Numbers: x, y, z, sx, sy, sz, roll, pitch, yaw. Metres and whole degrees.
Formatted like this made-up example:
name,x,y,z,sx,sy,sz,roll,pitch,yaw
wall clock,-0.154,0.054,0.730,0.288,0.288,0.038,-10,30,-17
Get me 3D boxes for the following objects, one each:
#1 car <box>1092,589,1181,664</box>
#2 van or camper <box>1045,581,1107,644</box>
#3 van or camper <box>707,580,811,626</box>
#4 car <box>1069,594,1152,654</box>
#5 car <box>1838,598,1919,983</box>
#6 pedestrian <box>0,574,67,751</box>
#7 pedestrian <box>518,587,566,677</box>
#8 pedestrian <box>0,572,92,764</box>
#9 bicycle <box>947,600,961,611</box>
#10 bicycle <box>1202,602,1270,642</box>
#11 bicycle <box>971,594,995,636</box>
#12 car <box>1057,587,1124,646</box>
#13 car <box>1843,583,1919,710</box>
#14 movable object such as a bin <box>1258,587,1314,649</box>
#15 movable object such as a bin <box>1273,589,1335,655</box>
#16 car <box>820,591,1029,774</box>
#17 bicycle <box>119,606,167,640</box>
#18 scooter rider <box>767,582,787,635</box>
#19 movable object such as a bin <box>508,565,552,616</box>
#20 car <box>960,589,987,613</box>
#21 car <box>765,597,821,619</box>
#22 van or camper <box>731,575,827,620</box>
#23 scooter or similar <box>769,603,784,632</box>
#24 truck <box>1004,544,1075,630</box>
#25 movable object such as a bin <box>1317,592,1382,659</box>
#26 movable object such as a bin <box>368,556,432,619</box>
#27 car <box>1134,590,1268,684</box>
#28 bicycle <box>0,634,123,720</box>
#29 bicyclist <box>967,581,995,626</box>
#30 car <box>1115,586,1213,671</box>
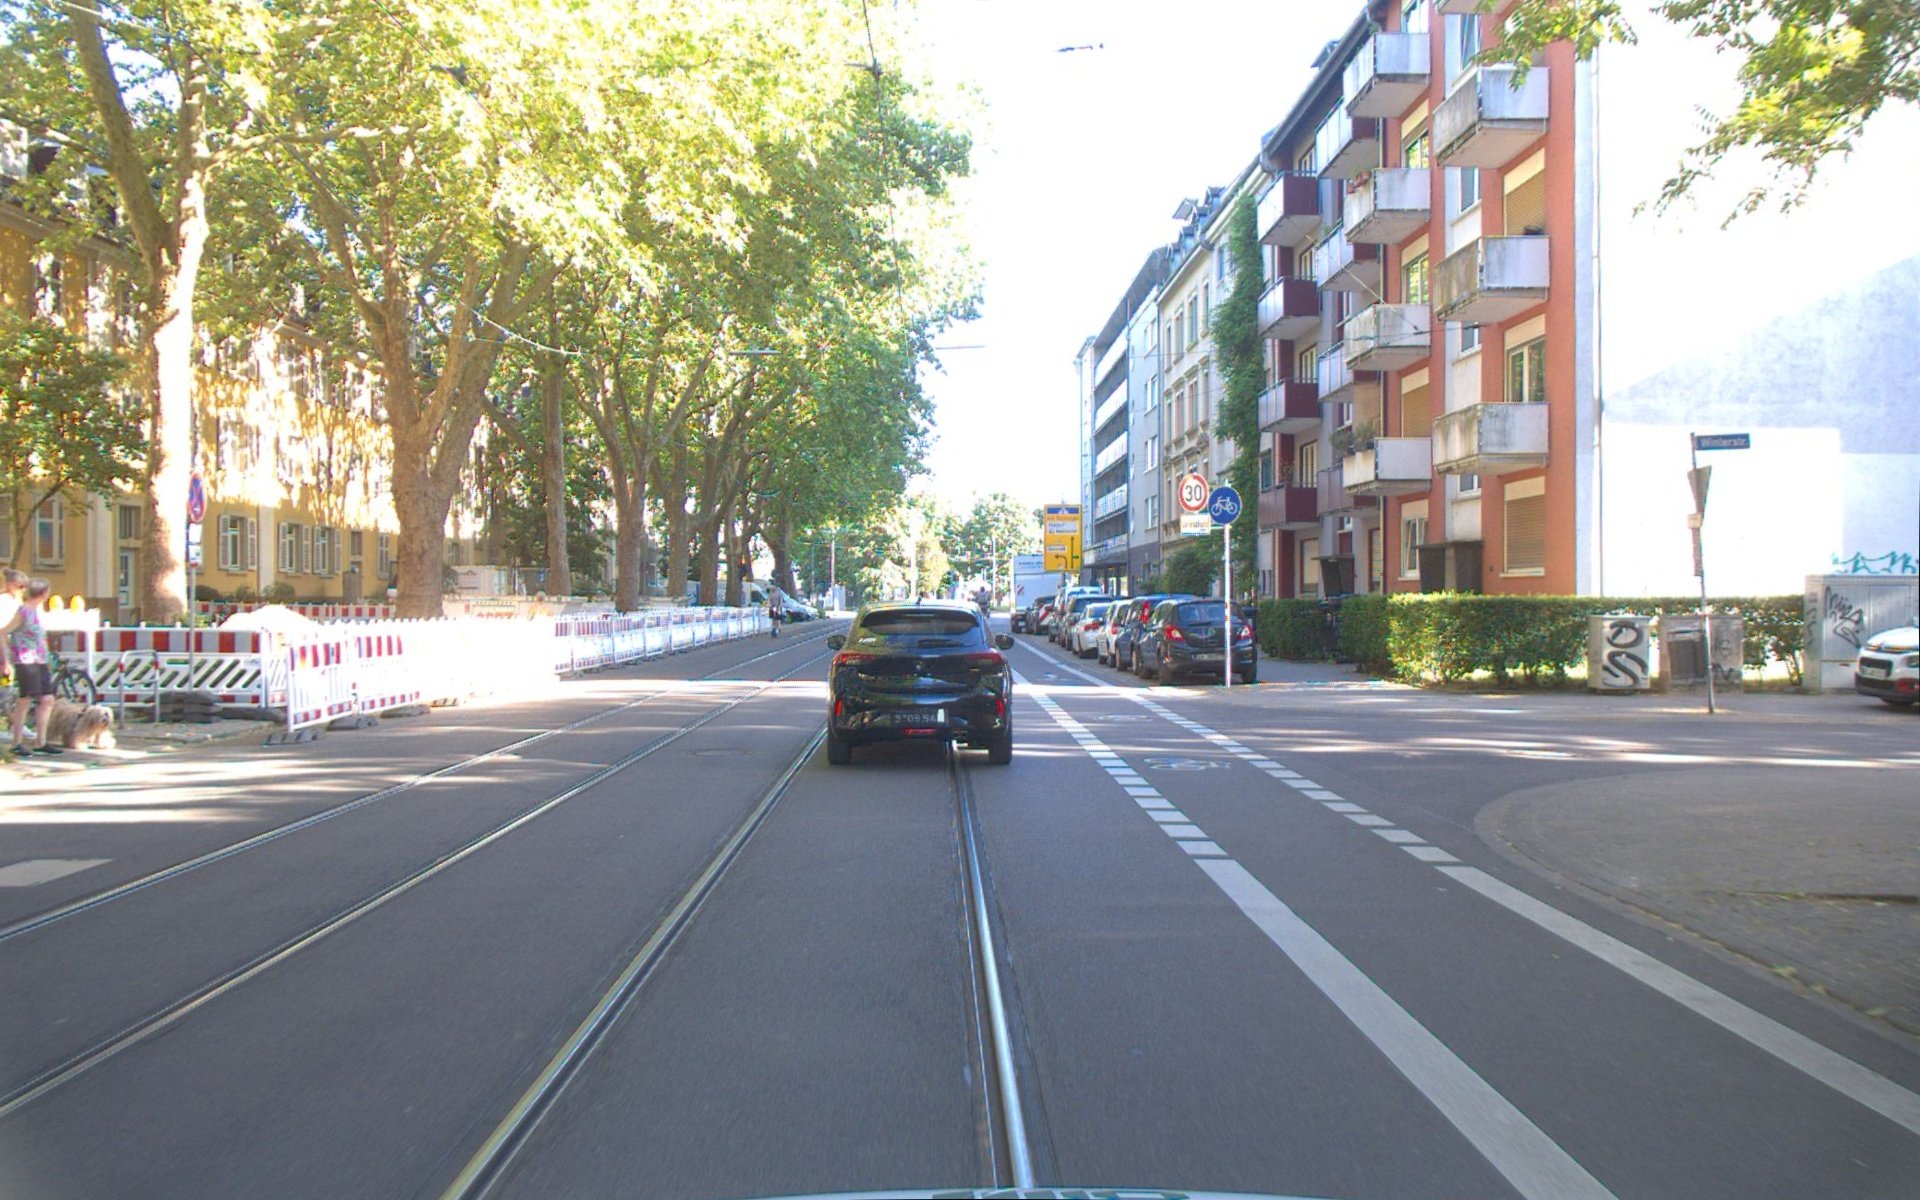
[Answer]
name,x,y,z,sx,sy,sz,roll,pitch,yaw
car,3.985,0.583,37.850,1.559,1.553,3.834,-2,0,0
van or camper,3.729,0.376,53.657,1.635,1.915,4.210,-1,0,0
van or camper,-11.094,0.158,91.685,5.387,2.421,2.270,1,0,2
car,3.920,0.601,43.801,1.626,1.424,4.738,-2,0,-1
car,4.616,0.750,5.060,1.671,1.498,3.999,-1,0,-1
pedestrian,-9.789,0.622,16.960,0.805,1.775,0.796,1,0,-1
pedestrian,-8.046,0.612,31.863,0.702,1.698,0.778,1,0,-1
pedestrian,-8.877,0.631,15.723,0.805,1.775,0.796,1,0,-1
bicycle,-0.559,0.562,161.317,0.771,1.009,2.245,1,0,15
bicycle,7.947,0.631,47.653,1.854,1.047,0.476,-2,0,4
bicycle,0.901,0.561,63.784,0.897,1.588,3.405,0,0,1
car,3.794,0.459,48.689,1.626,1.608,3.588,-1,0,0
car,13.721,0.568,21.339,3.835,1.508,1.561,0,3,-2
movable object such as a bin,7.294,0.399,37.094,0.905,1.350,1.681,1,0,-1
movable object such as a bin,7.325,0.463,35.326,0.947,1.350,1.721,1,0,-1
car,-0.338,0.683,15.884,1.745,1.522,3.999,0,0,-1
bicycle,-20.584,0.566,41.698,0.496,0.833,1.642,0,0,-5
scooter rider,-6.891,0.321,62.242,0.636,1.991,0.624,1,0,-1
movable object such as a bin,-14.673,-0.316,56.499,1.075,1.674,1.559,1,0,-1
car,1.035,0.056,128.323,1.953,1.725,4.738,-2,0,-1
car,-12.167,0.601,120.939,3.905,1.541,1.650,1,0,0
van or camper,-11.025,-0.143,100.948,5.607,2.690,2.269,1,0,-1
scooter or similar,-6.905,0.649,62.306,0.399,1.102,1.338,1,0,0
truck,3.325,-0.532,70.859,2.487,3.396,7.194,-3,0,0
movable object such as a bin,7.975,0.514,33.894,1.129,1.350,0.775,1,0,-1
movable object such as a bin,-17.381,-0.368,51.394,1.306,1.901,2.007,1,0,-1
car,4.232,0.605,29.577,1.698,1.487,3.915,-2,0,-1
bicycle,-11.126,0.911,19.690,1.932,0.979,0.726,0,0,0
bicyclist,0.820,0.130,63.618,1.067,1.676,1.401,0,0,1
car,4.086,0.558,33.648,1.495,1.618,3.751,1,0,0
